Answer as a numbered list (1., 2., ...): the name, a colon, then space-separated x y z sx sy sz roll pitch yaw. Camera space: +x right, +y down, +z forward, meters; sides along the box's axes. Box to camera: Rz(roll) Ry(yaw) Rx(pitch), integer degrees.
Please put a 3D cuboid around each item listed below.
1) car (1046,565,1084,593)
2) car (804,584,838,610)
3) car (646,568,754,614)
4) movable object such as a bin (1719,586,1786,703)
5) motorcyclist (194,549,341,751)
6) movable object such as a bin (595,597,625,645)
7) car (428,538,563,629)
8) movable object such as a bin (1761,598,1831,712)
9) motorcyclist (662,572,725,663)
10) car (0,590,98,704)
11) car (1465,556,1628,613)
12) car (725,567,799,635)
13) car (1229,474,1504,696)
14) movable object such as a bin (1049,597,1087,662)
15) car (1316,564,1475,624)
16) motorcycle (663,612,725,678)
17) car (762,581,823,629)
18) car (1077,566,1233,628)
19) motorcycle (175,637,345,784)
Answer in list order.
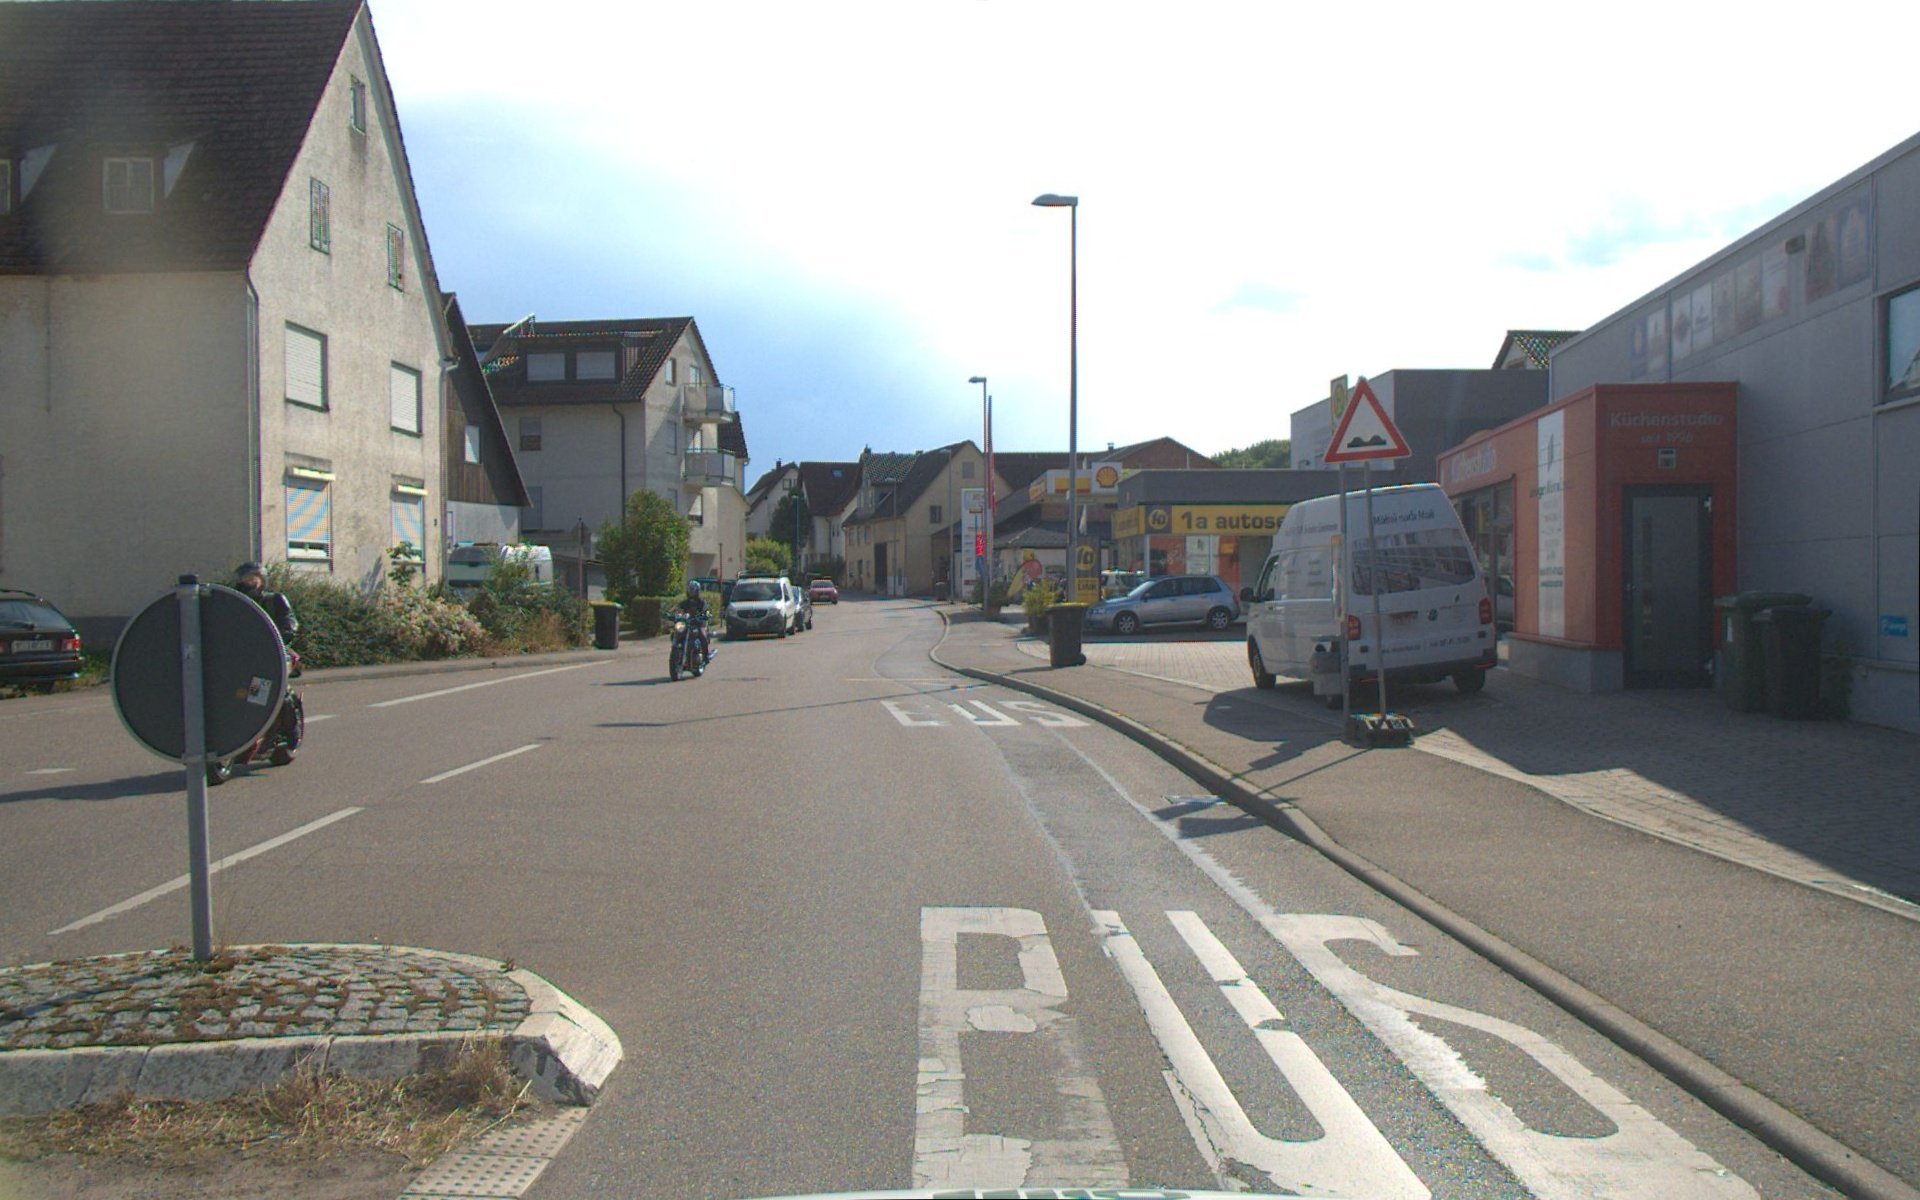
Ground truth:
1. car: 5.651 -1.151 89.287 1.546 1.452 4.379 0 1 -3
2. car: -8.403 -0.196 99.948 1.677 1.459 3.772 -2 1 -10
3. car: -10.560 -0.388 67.240 3.903 1.565 1.764 4 2 10
4. movable object such as a bin: 7.305 0.403 15.261 0.420 1.060 0.490 0 1 7
5. motorcyclist: -5.589 0.391 13.401 0.721 1.553 1.016 2 0 -2
6. movable object such as a bin: -8.262 0.501 39.052 0.598 1.120 0.576 0 0 -1
7. car: -14.223 -0.544 51.085 2.113 2.641 6.097 0 1 4
8. movable object such as a bin: 7.348 0.477 14.547 0.420 0.983 0.431 0 1 7
9. motorcyclist: -4.412 0.275 27.440 0.785 1.461 1.037 1 0 6
10. car: -14.171 0.599 23.287 3.909 1.458 1.651 1 1 27
11. car: 15.892 -0.430 44.910 3.828 1.433 1.715 -1 3 -5
12. car: -5.953 0.000 50.013 1.681 1.905 4.192 -2 1 0
13. car: 4.927 -0.202 20.880 1.800 2.416 5.174 -1 1 -5
14. movable object such as a bin: 1.881 0.511 28.854 0.556 1.094 0.572 -2 1 -5
15. car: 11.716 -0.182 44.641 3.828 1.493 1.715 -1 3 -5
16. motorcycle: -4.406 0.733 27.525 0.513 1.030 2.029 1 0 5
17. car: -5.595 0.138 55.501 1.638 1.477 3.834 -1 1 0
18. car: 5.227 -0.102 44.510 3.914 1.558 1.524 -1 1 -10
19. motorcycle: -5.572 0.843 13.289 0.527 1.030 2.027 2 0 -2
